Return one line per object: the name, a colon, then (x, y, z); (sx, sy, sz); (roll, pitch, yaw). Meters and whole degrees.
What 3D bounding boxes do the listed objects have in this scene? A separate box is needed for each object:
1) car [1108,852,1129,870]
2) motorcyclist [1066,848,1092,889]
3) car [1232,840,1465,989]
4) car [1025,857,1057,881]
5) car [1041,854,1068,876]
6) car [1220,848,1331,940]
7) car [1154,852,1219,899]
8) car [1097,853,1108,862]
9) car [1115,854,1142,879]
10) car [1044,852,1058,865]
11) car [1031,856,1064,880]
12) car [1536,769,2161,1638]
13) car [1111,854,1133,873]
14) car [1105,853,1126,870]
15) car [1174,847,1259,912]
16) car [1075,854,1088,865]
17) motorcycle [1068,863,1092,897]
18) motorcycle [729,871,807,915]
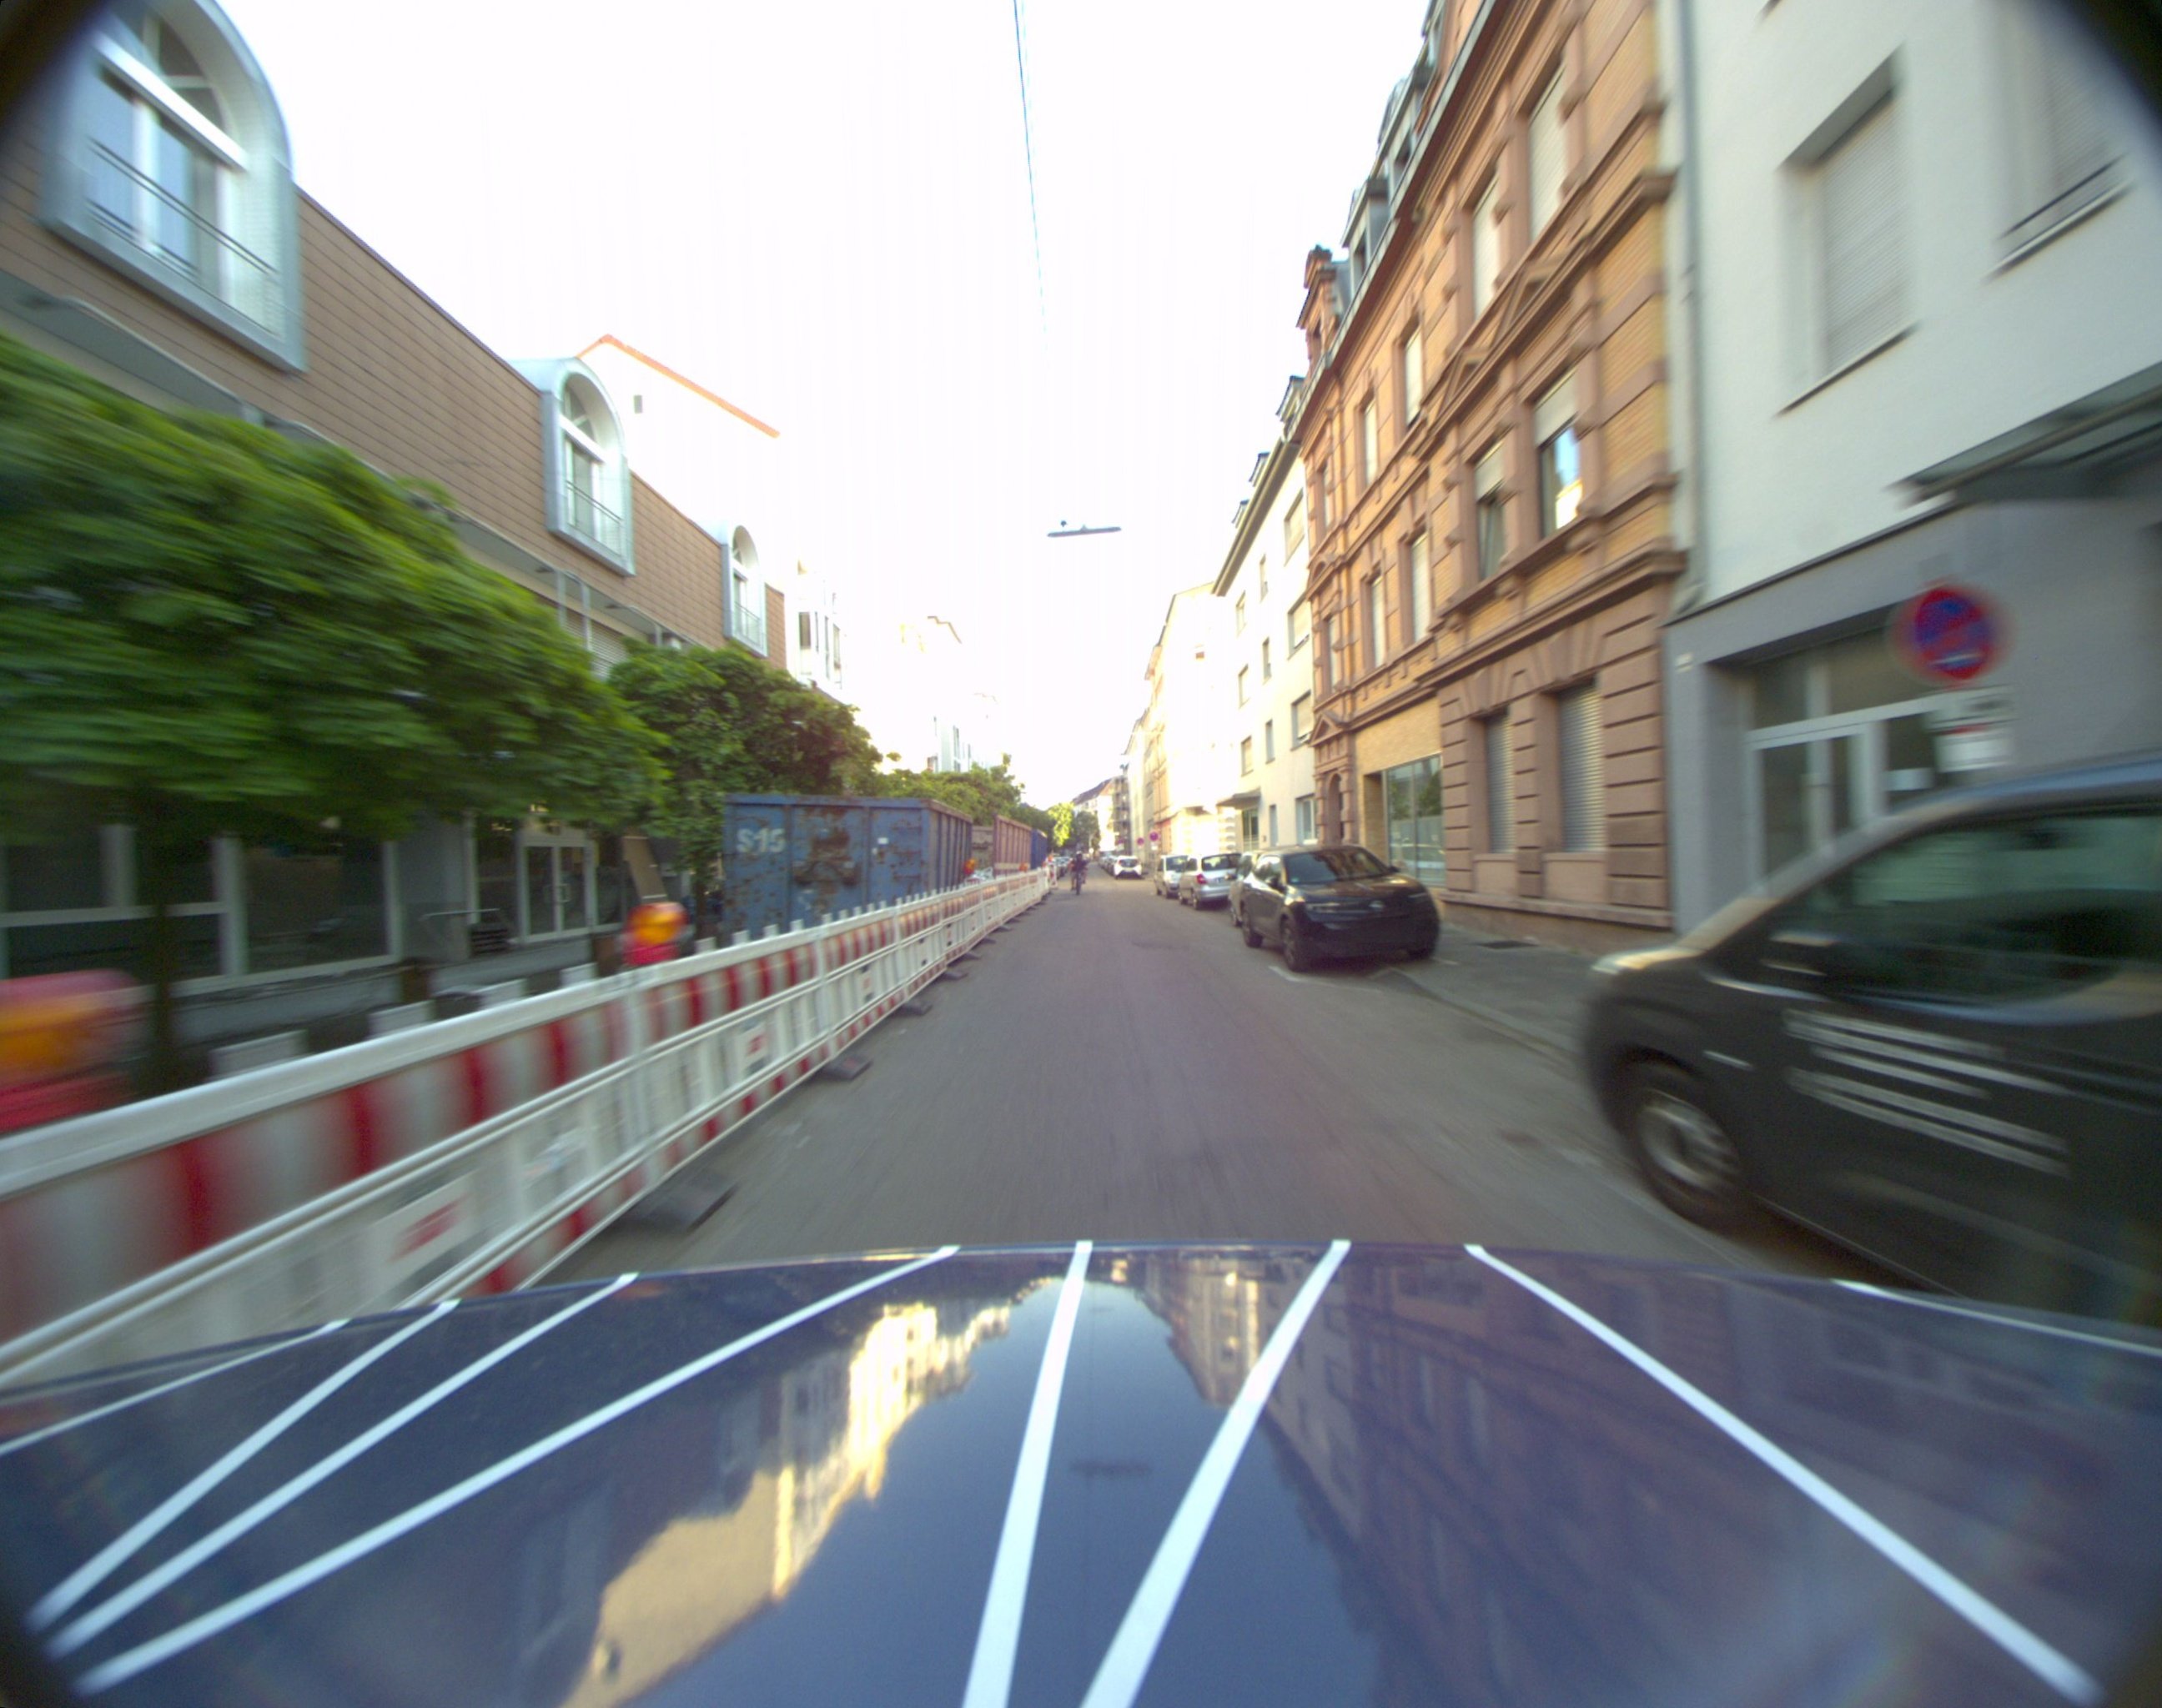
car: (3.280, 0.593, 66.765); (1.537, 1.490, 4.195); (-1, 0, -1)
motorcyclist: (-0.073, 0.571, 29.871); (0.874, 1.558, 1.000); (-4, -1, 2)
car: (3.387, 0.676, 10.484); (1.744, 1.590, 4.014); (-3, 0, 0)
car: (-2.649, 0.988, 50.782); (1.638, 1.438, 4.067); (-3, 0, 3)
car: (-2.235, 0.899, 64.459); (1.863, 1.679, 4.391); (-3, 0, 2)
car: (3.660, 0.690, 14.709); (1.399, 1.579, 2.793); (-2, 0, 0)
car: (3.570, 0.691, 26.205); (1.636, 1.421, 3.555); (-3, 0, -1)
car: (4.221, 0.652, 151.164); (1.998, 1.783, 4.000); (-3, 0, 1)
car: (3.127, 0.802, 50.248); (1.688, 1.487, 3.844); (1, 0, 2)
car: (-4.900, 0.736, 123.907); (1.999, 2.002, 4.000); (-3, 0, 0)
car: (-2.401, 0.985, 55.505); (1.912, 1.575, 4.001); (-3, 0, 3)
car: (3.261, 0.701, 1.395); (1.999, 1.848, 4.584); (-3, 0, -1)
car: (3.233, 0.742, 60.637); (1.589, 1.407, 3.912); (2, 0, 1)
car: (3.694, 0.788, 82.828); (1.999, 1.640, 4.493); (-3, 0, -1)
car: (3.630, 0.642, 20.923); (1.559, 1.500, 3.597); (-5, 0, 0)
car: (0.122, 0.905, 130.879); (1.998, 1.783, 4.000); (-3, 0, 1)
motorcycle: (-0.028, 1.024, 29.819); (0.806, 1.242, 1.699); (-4, -2, 2)
motorcycle: (-10.040, 1.229, 24.478); (0.871, 1.215, 2.460); (-1, 1, 19)
